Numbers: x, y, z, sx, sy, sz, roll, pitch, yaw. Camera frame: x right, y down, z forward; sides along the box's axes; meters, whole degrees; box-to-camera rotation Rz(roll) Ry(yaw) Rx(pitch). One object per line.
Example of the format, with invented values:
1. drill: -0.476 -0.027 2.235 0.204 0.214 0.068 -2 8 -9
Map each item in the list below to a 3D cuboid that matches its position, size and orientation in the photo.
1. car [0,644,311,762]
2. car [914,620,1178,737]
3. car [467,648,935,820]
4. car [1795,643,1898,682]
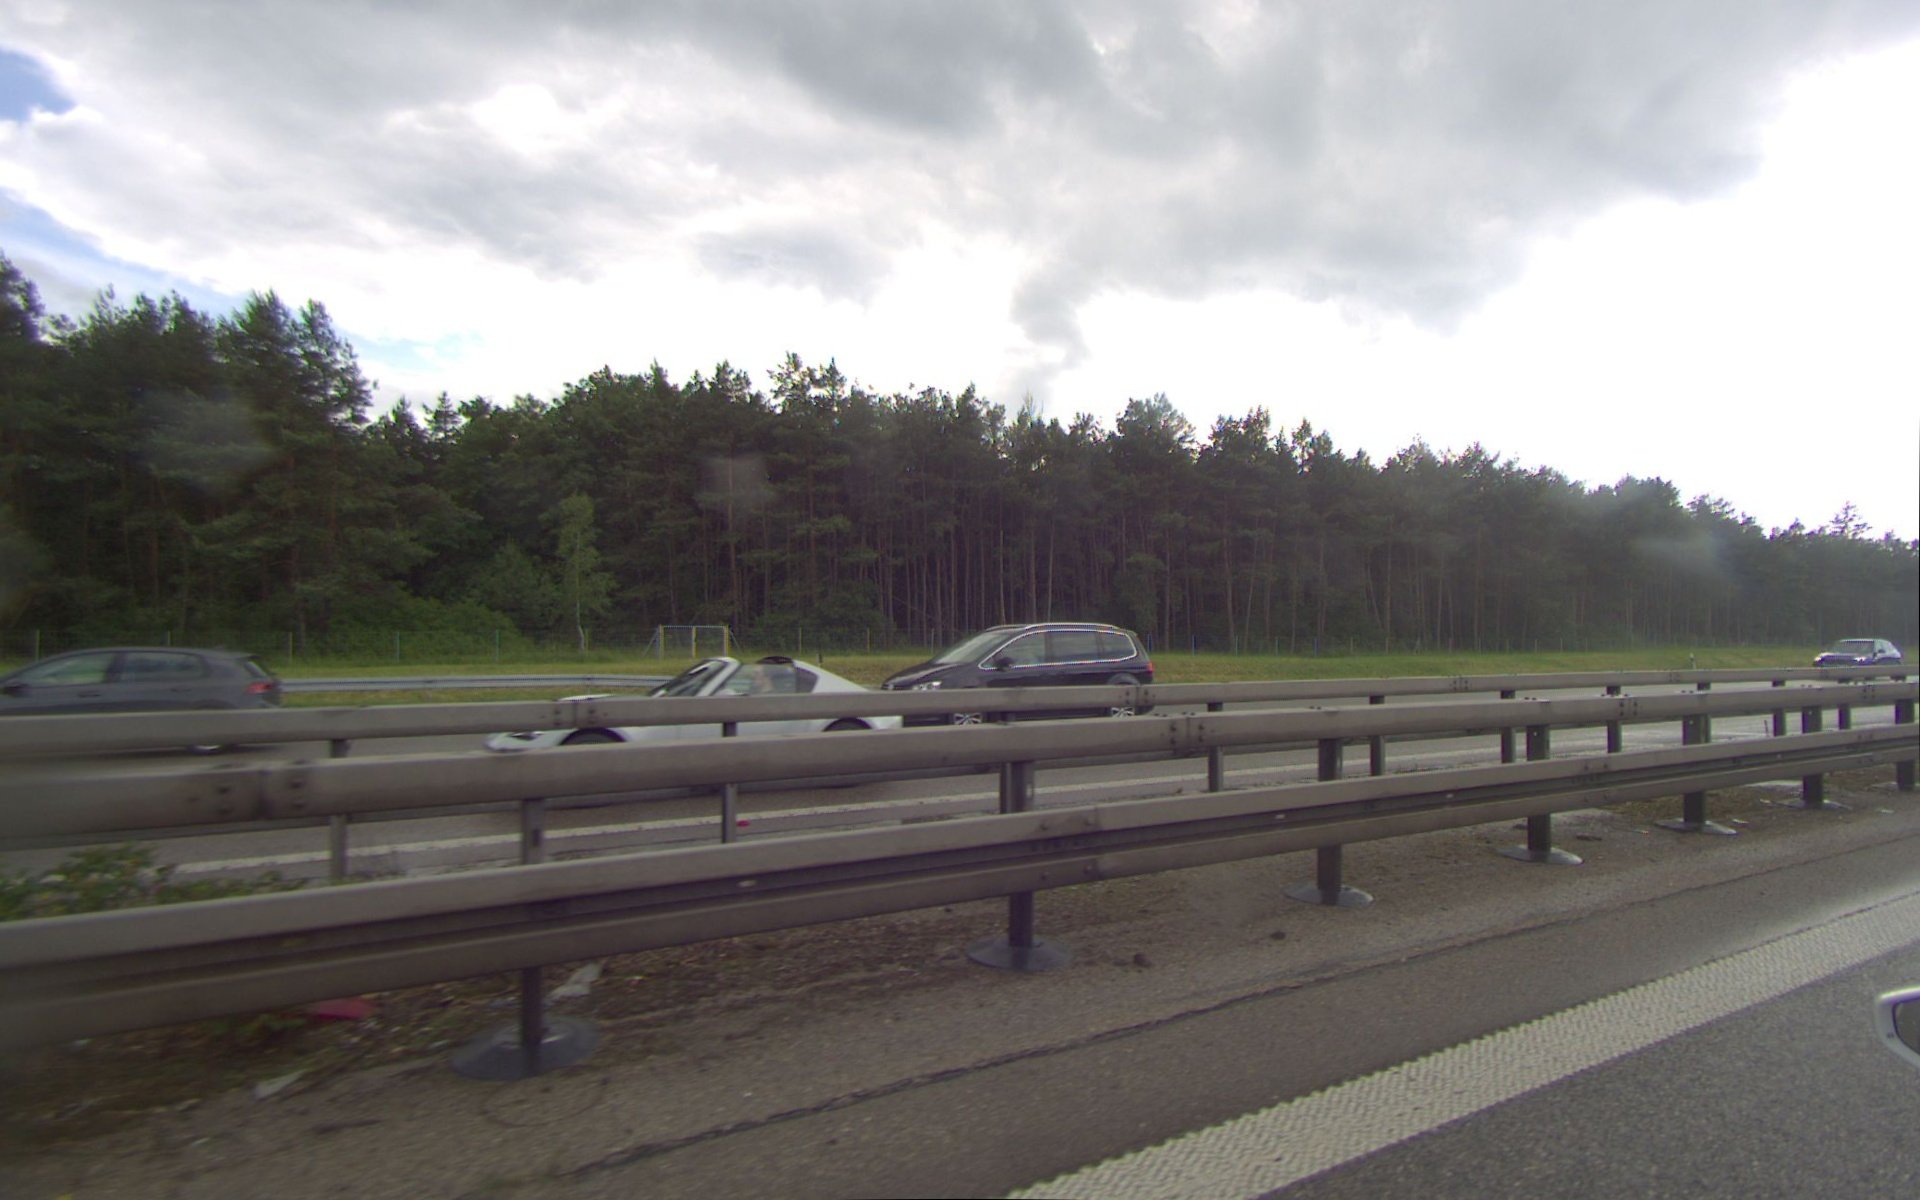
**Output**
1. car: -11.131 1.309 13.305 4.135 1.414 1.716 2 -3 -31
2. car: 1.443 1.244 16.434 4.089 1.705 1.716 2 -4 -31
3. car: -2.384 1.116 9.527 4.015 1.276 1.686 1 -2 -31
4. car: 36.929 2.578 41.823 4.460 1.568 1.891 2 -4 -31
